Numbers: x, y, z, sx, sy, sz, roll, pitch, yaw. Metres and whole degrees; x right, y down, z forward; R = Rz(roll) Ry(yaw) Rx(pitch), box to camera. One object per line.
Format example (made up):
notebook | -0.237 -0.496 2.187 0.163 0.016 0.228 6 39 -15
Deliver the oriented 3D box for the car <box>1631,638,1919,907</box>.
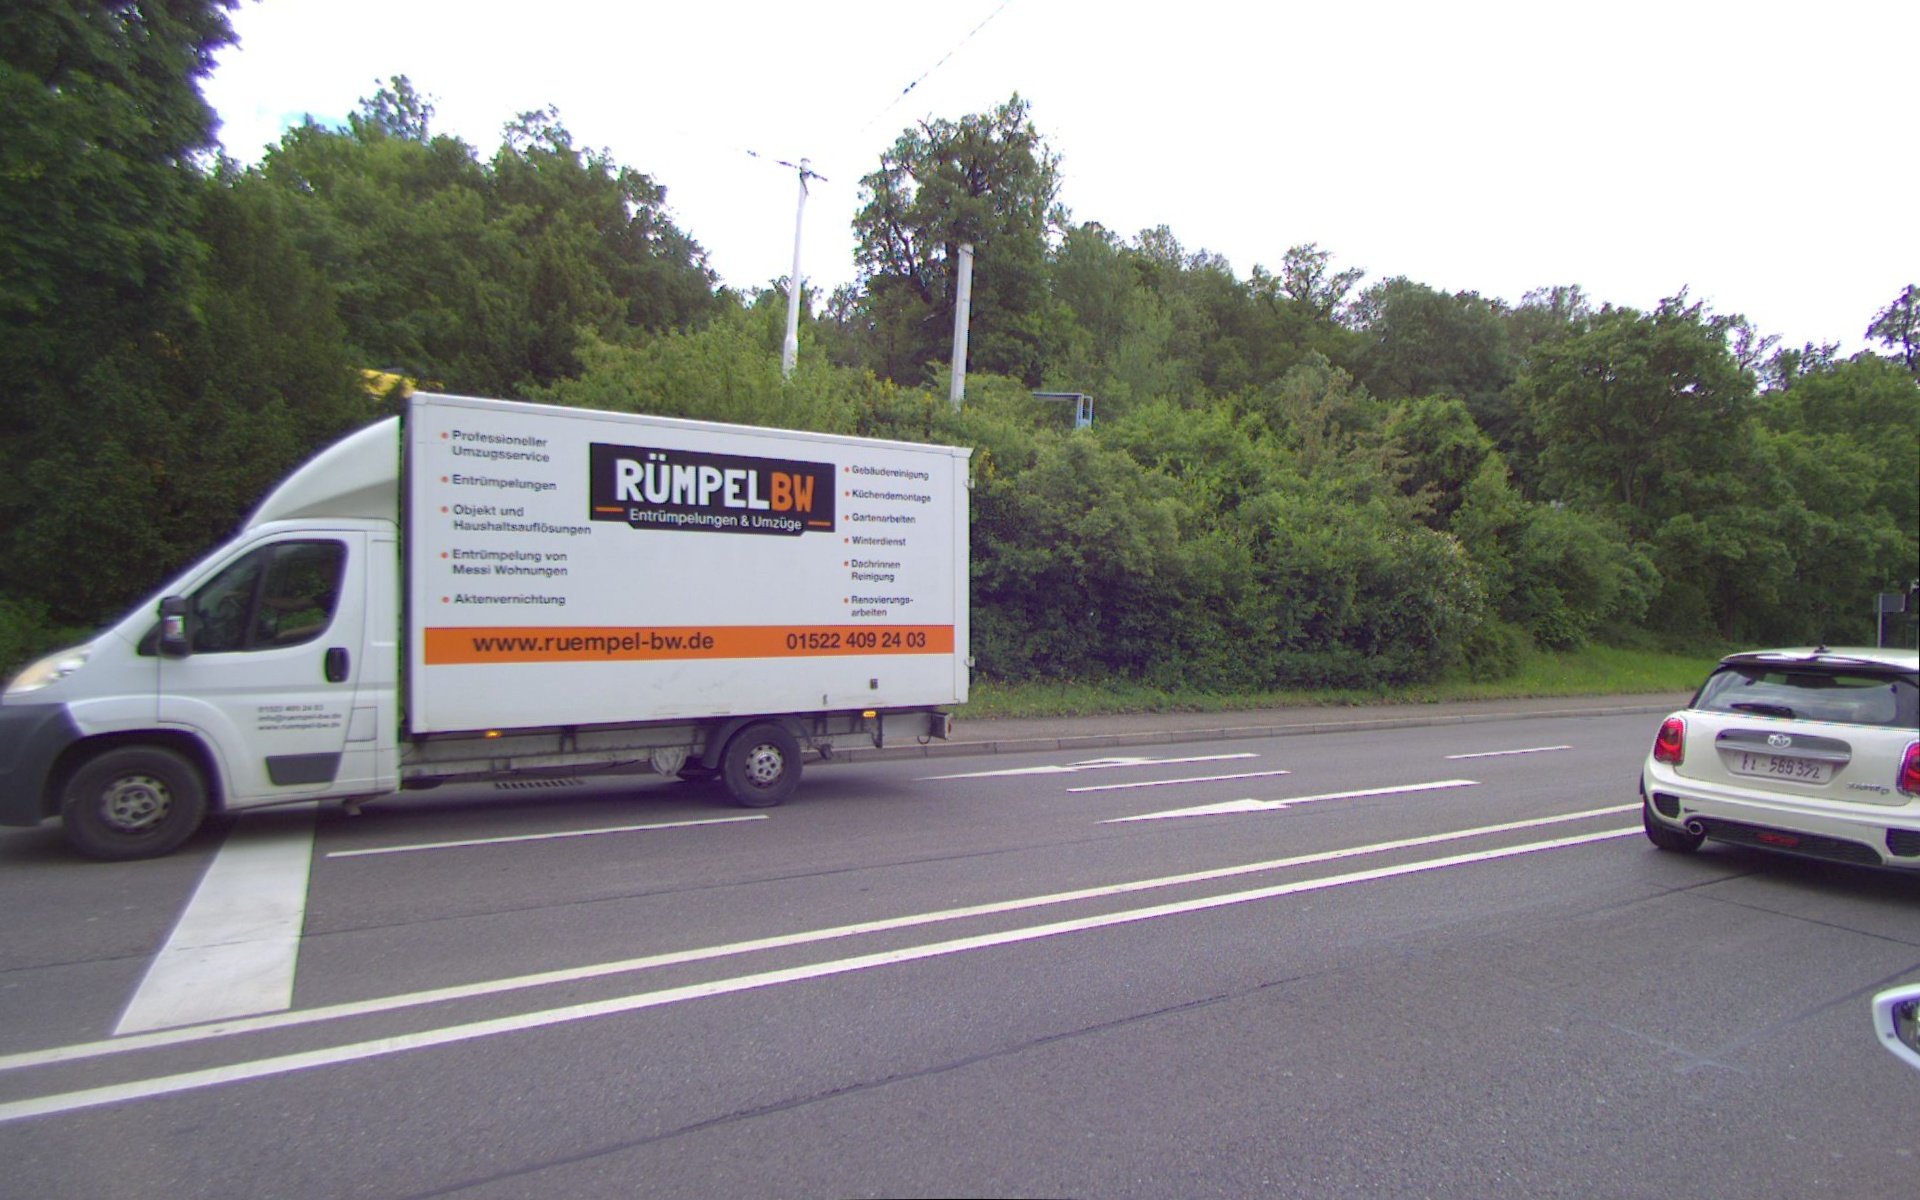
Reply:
car | 6.316 1.005 6.855 3.527 1.411 1.619 2 -2 -32

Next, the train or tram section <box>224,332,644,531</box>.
train or tram section | -11.594 -3.515 22.809 8.072 3.083 2.043 4 -1 -35

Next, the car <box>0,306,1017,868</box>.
car | -3.114 0.037 8.287 7.158 3.096 2.257 2 -1 -33
